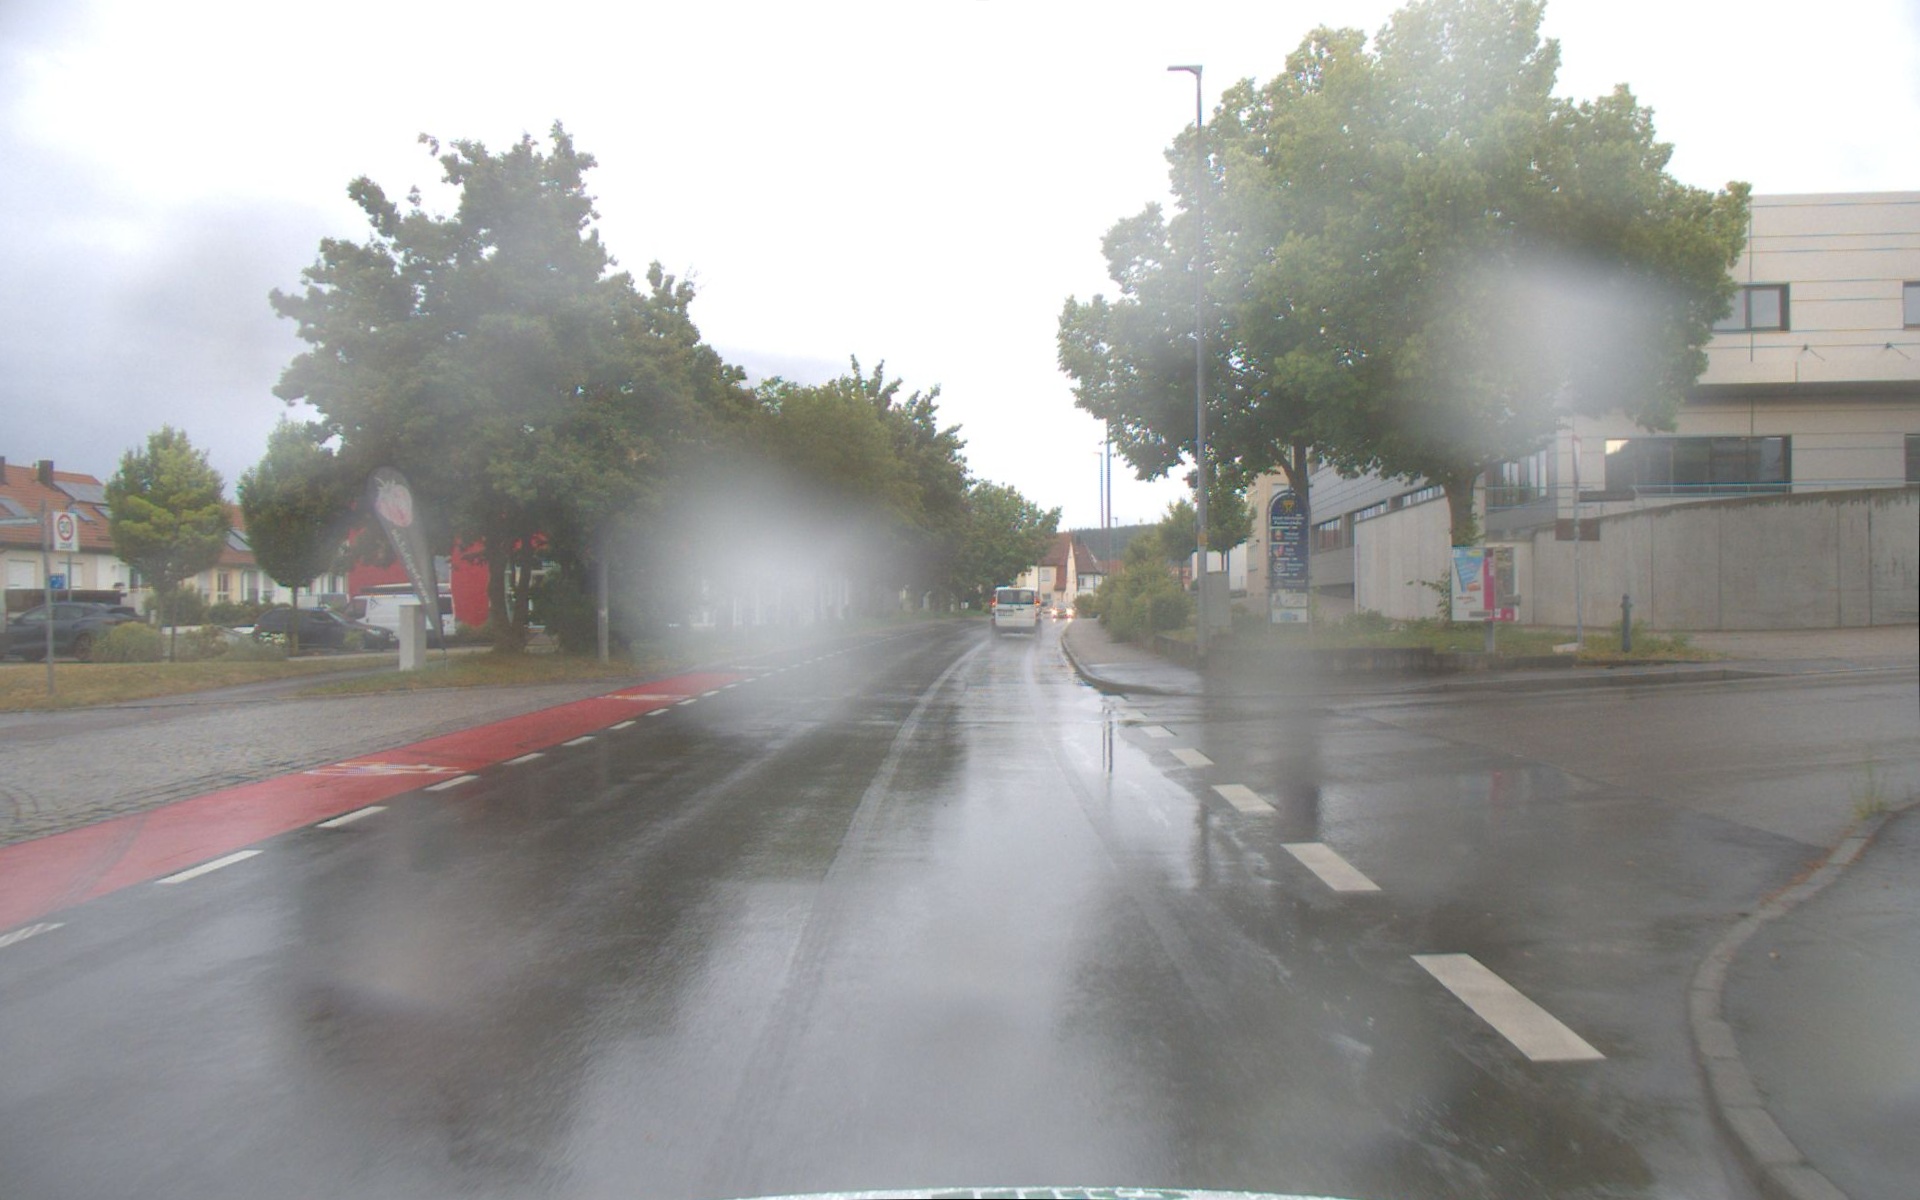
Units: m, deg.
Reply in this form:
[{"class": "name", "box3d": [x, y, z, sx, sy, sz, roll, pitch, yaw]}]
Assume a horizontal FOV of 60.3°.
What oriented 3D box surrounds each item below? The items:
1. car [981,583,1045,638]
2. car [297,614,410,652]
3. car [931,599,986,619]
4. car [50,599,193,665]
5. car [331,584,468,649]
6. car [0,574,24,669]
[{"class": "car", "box3d": [1.927, 0.362, 61.518, 2.074, 1.921, 4.500, 0, 1, -2]}, {"class": "car", "box3d": [-21.197, 1.151, 57.900, 3.331, 1.266, 1.705, 0, 1, -1]}, {"class": "car", "box3d": [-0.089, 0.685, 121.440, 3.817, 1.306, 1.583, -2, -1, 6]}, {"class": "car", "box3d": [-21.963, 0.797, 43.518, 2.074, 1.583, 4.160, 0, 1, -8]}, {"class": "car", "box3d": [-21.275, 0.606, 62.875, 4.382, 2.351, 2.186, 1, 1, 6]}, {"class": "car", "box3d": [-19.830, 0.445, 30.359, 1.991, 1.854, 5.610, 1, 1, 1]}]
